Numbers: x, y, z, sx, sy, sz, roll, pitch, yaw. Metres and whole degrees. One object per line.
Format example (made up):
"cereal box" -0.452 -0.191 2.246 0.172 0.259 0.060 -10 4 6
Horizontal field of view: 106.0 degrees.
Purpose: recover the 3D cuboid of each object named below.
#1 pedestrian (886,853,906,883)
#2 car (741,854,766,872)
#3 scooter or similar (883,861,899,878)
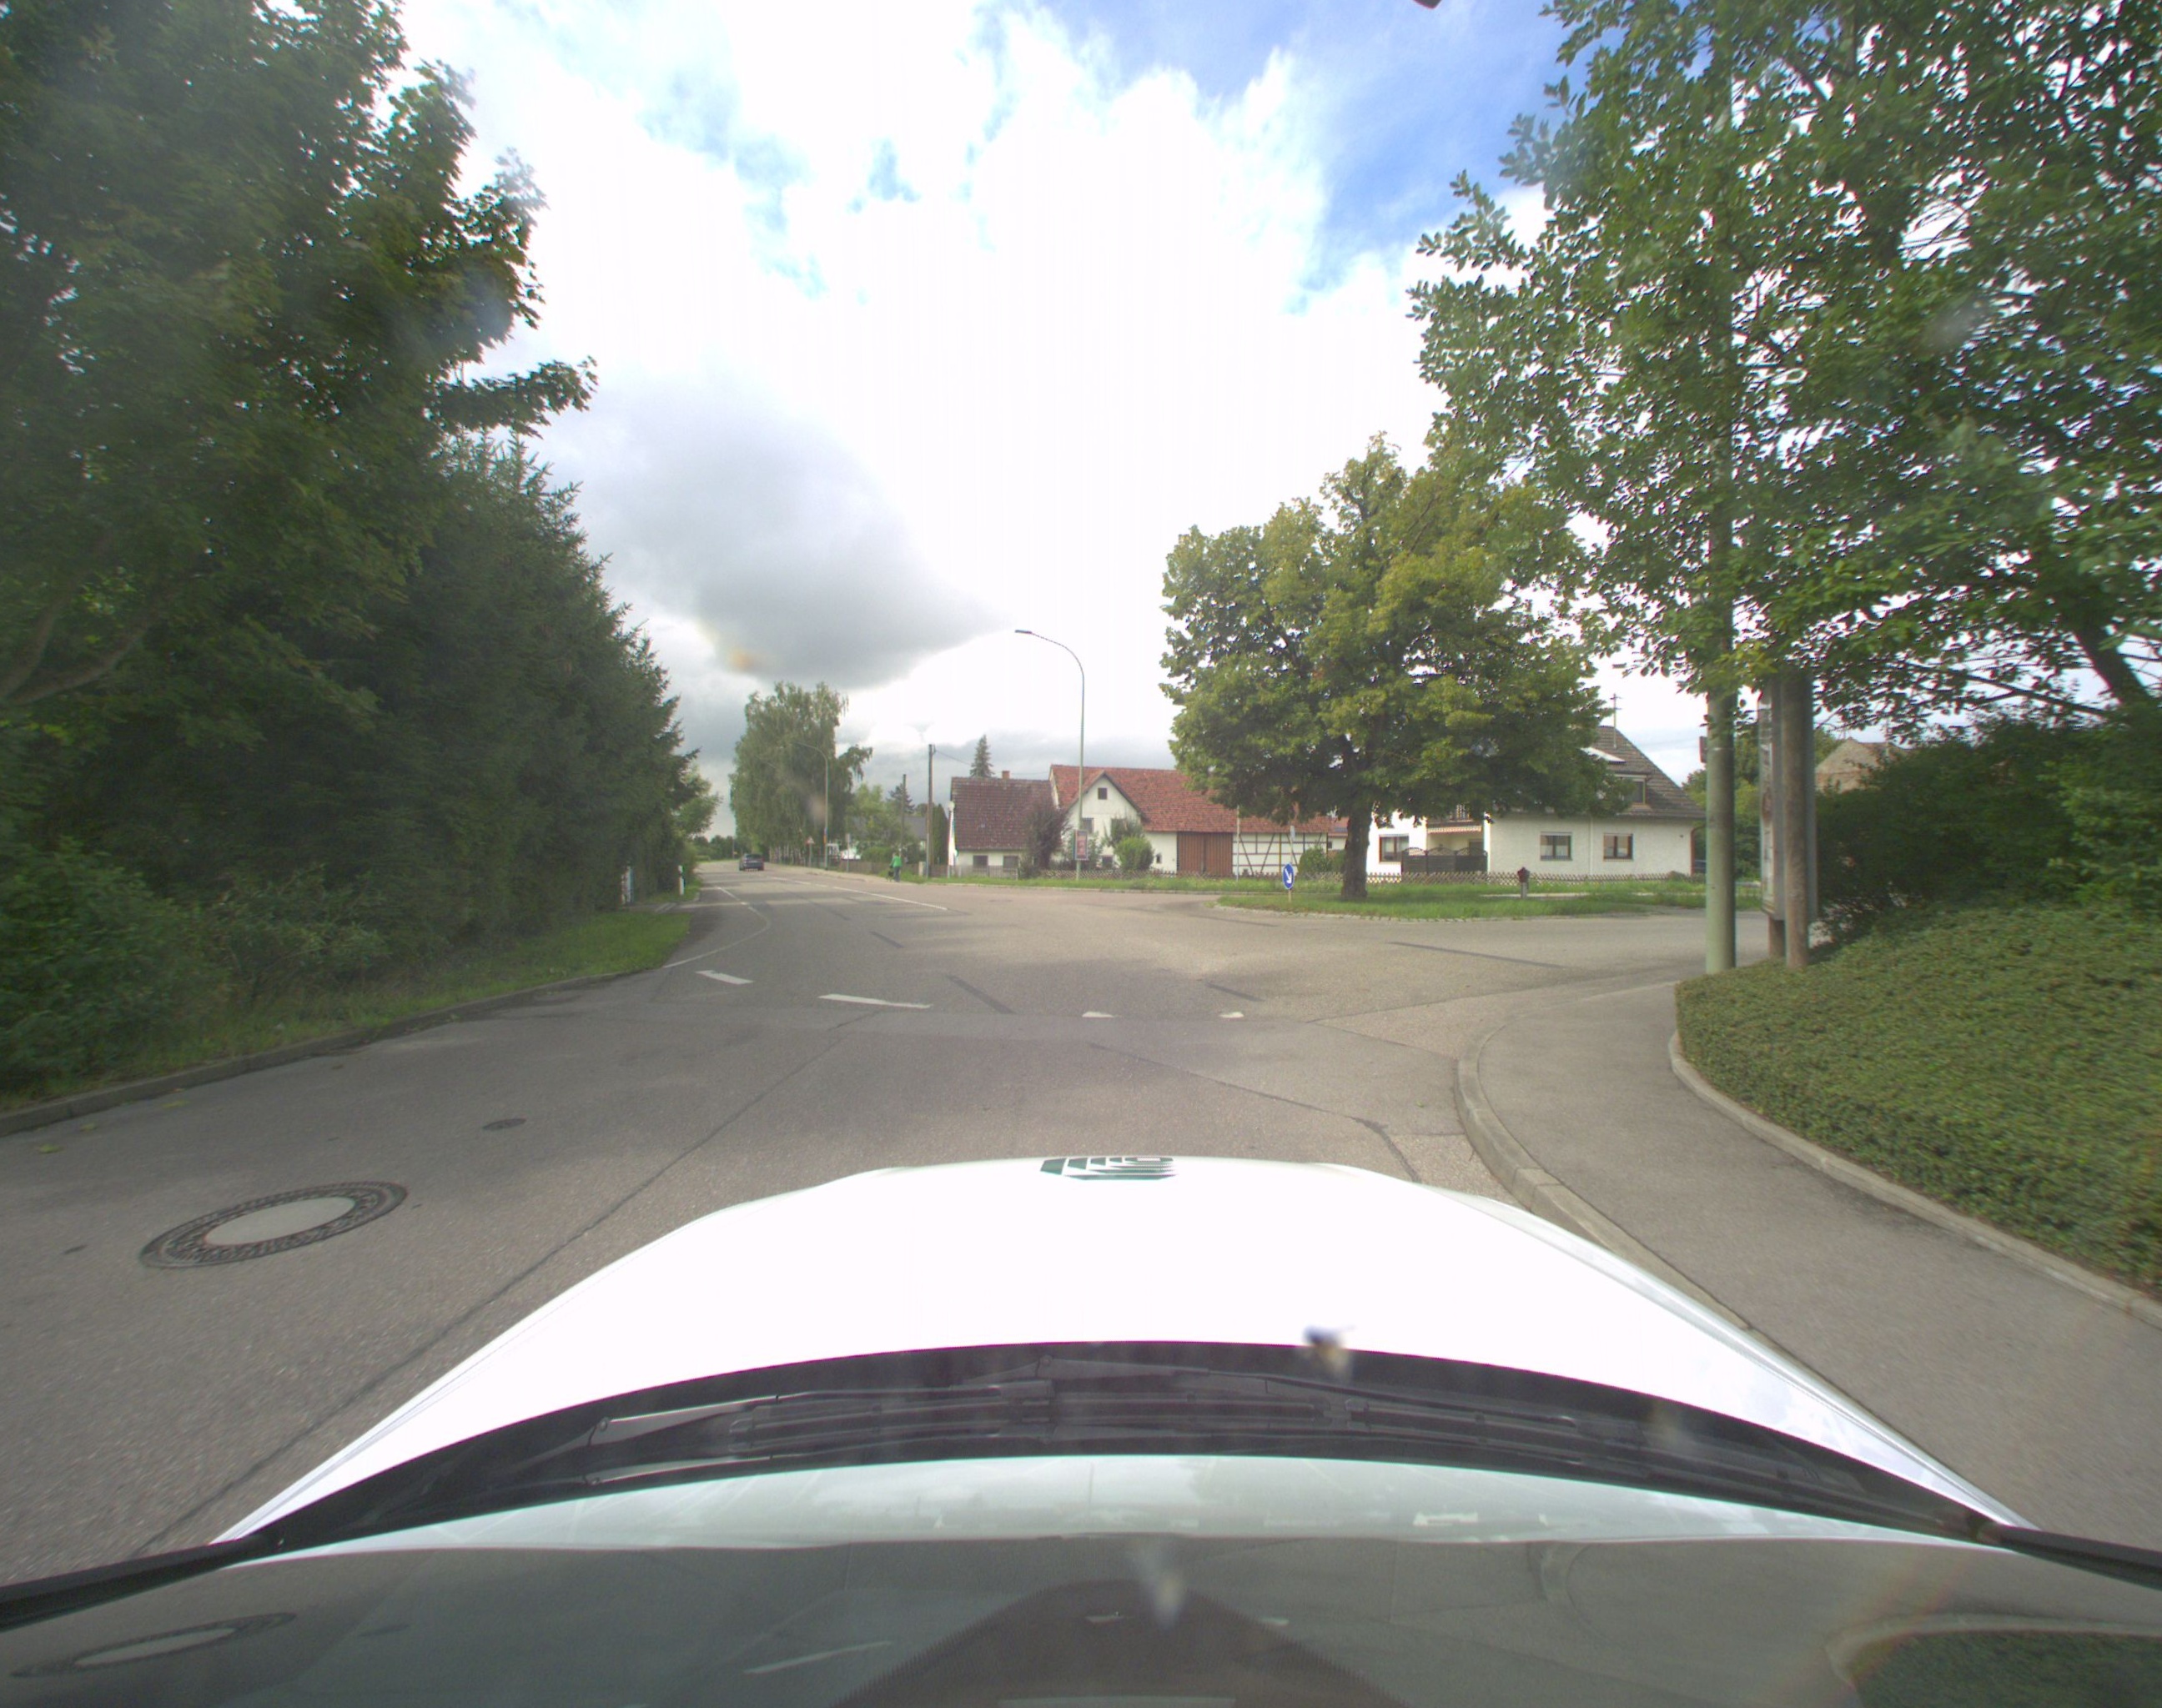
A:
"pedestrian" -10.603 0.816 46.641 0.793 1.665 0.705 5 -3 -31
"car" -29.499 0.826 73.334 2.001 1.552 3.971 1 0 -22
"scooter or similar" -11.009 0.917 47.201 0.634 0.948 0.616 5 -3 -31
